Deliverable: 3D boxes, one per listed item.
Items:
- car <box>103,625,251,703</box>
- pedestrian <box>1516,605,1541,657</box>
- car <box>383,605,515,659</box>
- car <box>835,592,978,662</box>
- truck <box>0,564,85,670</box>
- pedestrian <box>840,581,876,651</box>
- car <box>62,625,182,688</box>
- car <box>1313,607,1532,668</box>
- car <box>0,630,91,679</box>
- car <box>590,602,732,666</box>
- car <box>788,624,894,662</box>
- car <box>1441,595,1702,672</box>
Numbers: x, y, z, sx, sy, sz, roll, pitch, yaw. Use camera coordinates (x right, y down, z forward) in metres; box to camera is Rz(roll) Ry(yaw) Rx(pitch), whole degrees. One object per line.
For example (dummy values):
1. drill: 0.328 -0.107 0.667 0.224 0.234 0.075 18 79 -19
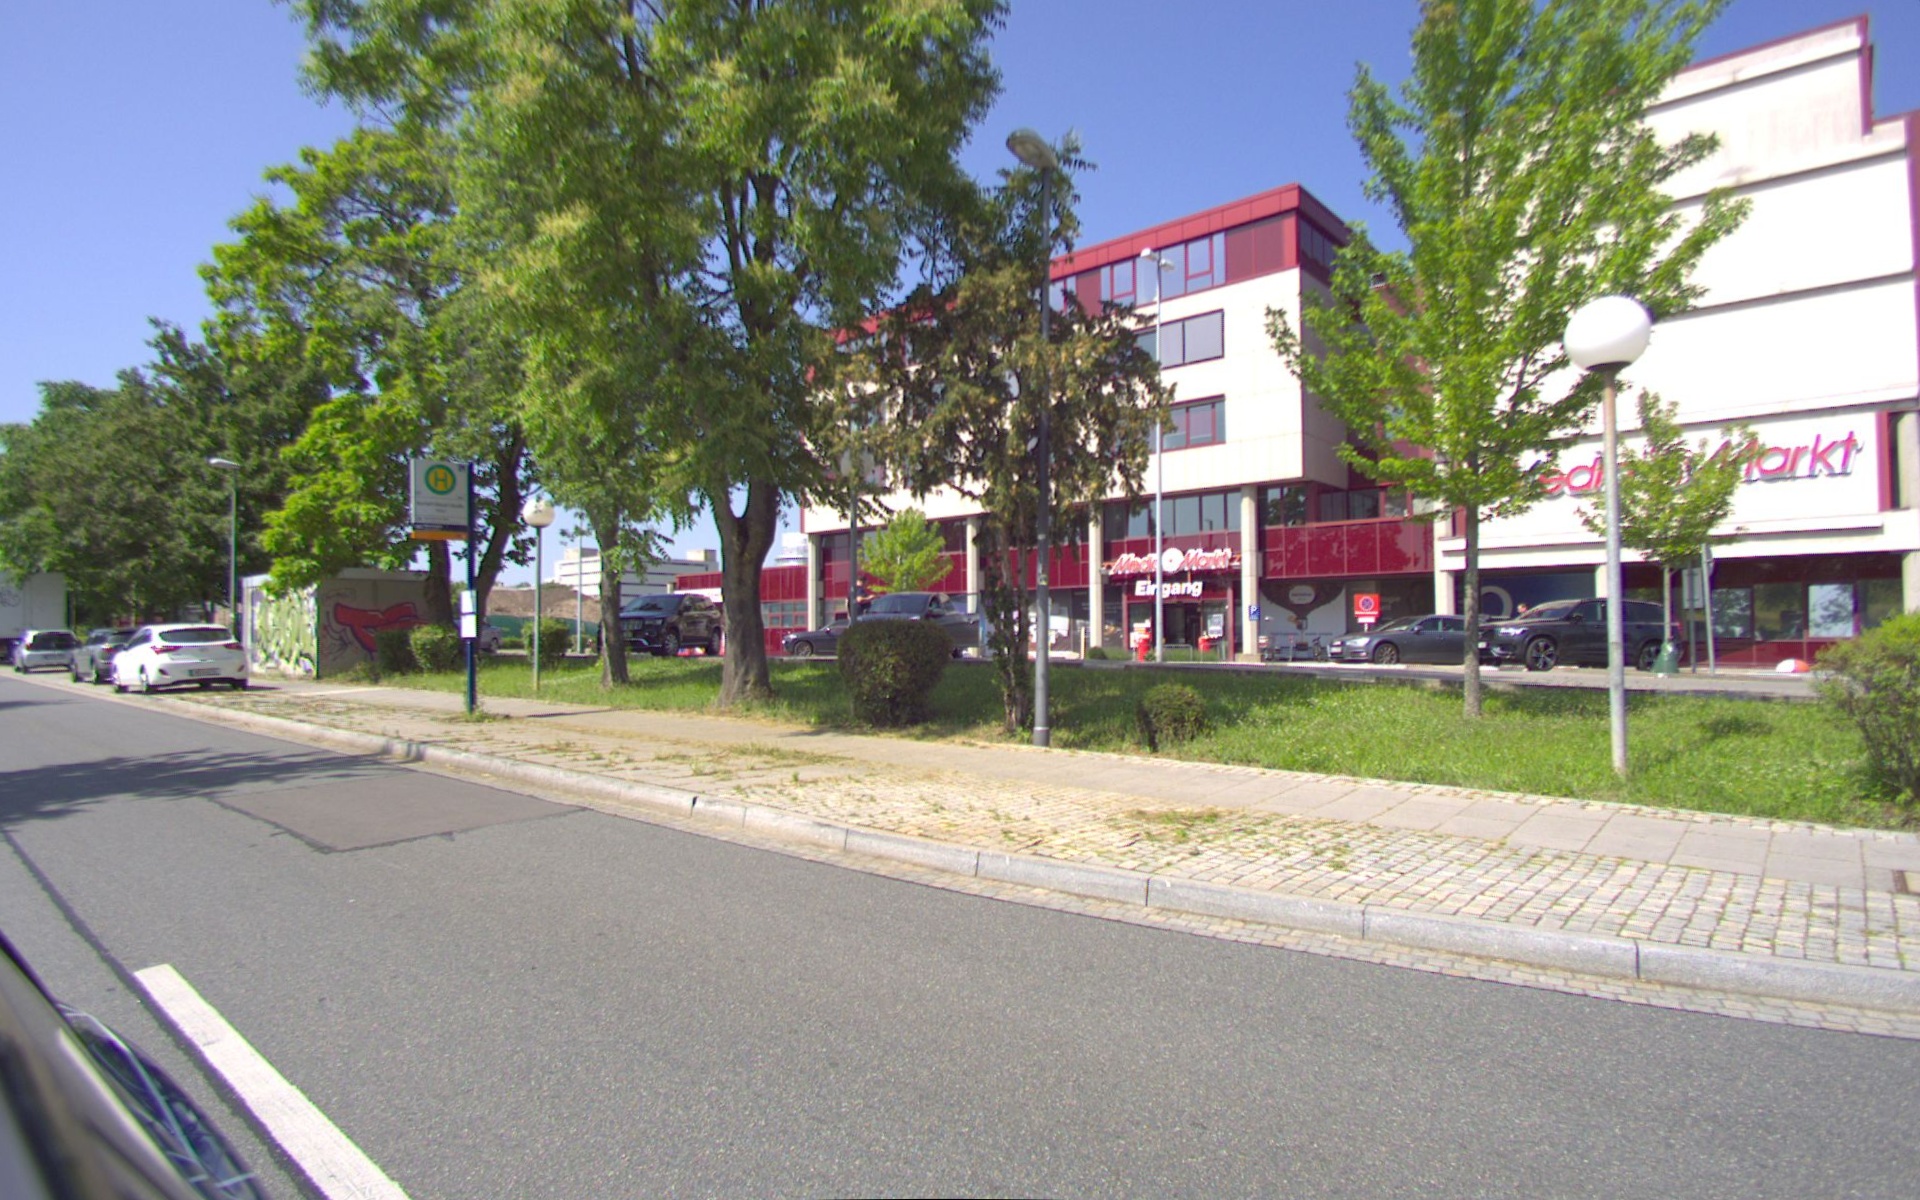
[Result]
1. car: -17.140 1.331 22.087 3.997 1.504 1.743 -2 -1 40
2. pedestrian: 15.052 0.824 26.792 0.520 1.366 0.457 -2 -2 35
3. car: -18.940 1.205 37.778 1.978 1.818 4.701 -2 -2 10
4. car: -1.044 0.545 21.795 1.705 1.348 3.964 -2 -1 19
5. truck: -40.702 0.796 43.647 9.274 4.175 3.310 -2 -1 42
6. pedestrian: -2.305 0.367 22.829 0.555 1.539 0.759 0 -2 -27
7. car: -22.454 1.483 27.082 3.997 1.527 1.792 -2 -1 40
8. car: 11.849 0.969 26.090 4.794 1.504 1.921 0 -2 -6
9. car: -31.397 1.827 34.707 3.997 1.527 1.792 -2 -1 40
10. car: -7.843 0.847 27.065 1.831 1.504 4.805 -1 -1 8
11. car: -4.816 1.736 41.004 4.174 1.462 1.725 -1 -2 -6
12. car: 14.227 0.838 23.665 5.031 1.606 2.192 2 -4 -12
